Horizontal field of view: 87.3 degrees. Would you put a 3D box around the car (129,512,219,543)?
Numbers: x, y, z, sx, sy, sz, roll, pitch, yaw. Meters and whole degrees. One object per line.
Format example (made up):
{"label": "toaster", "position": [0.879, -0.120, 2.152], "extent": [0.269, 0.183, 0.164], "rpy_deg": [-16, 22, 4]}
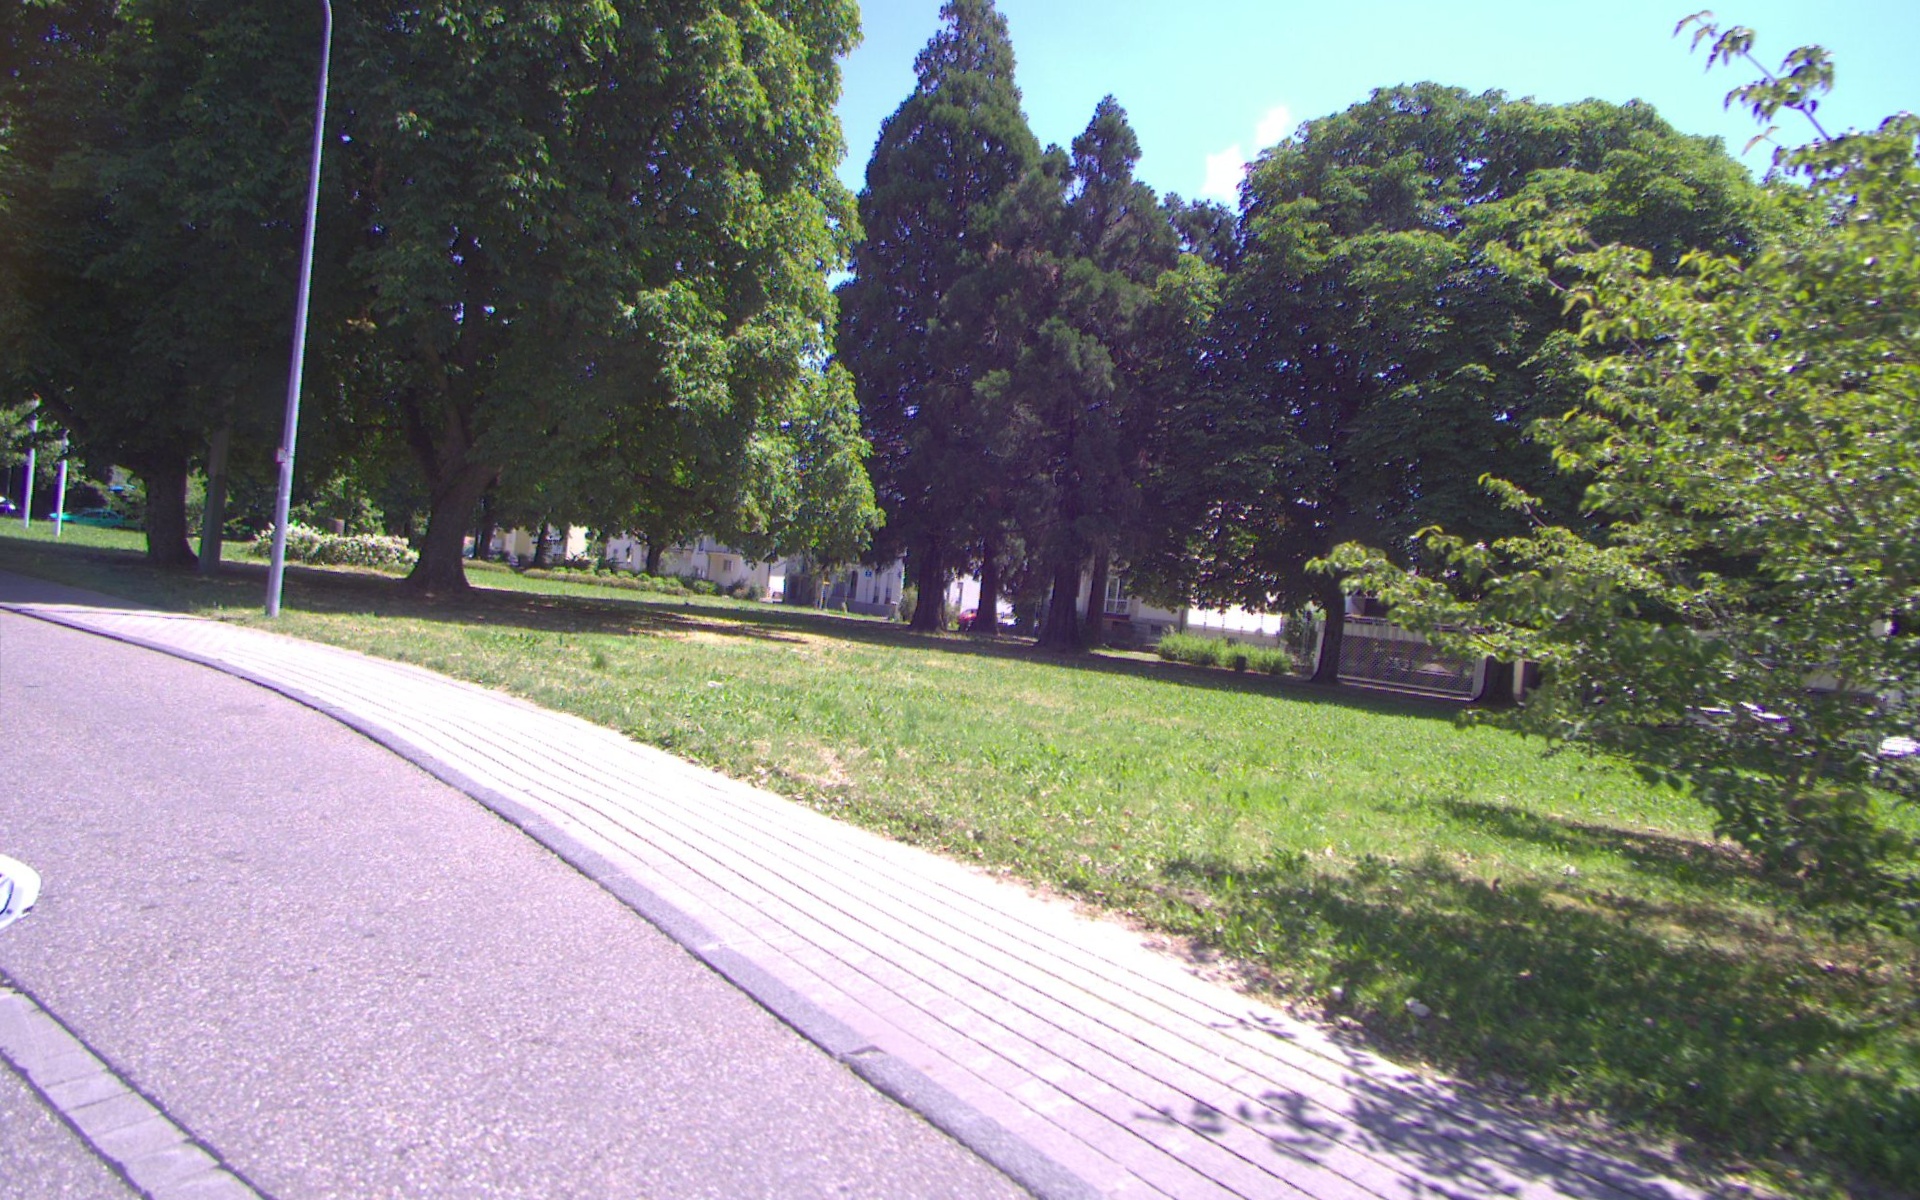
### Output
{"label": "car", "position": [-53.026, -4.851, 67.956], "extent": [1.967, 1.433, 4.343], "rpy_deg": [5, -2, 31]}

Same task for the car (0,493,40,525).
{"label": "car", "position": [-57.859, -5.605, 59.430], "extent": [1.968, 1.627, 4.824], "rpy_deg": [6, 0, 35]}

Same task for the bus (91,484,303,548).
{"label": "bus", "position": [-55.758, -6.065, 74.177], "extent": [2.231, 3.014, 12.393], "rpy_deg": [5, -1, 31]}

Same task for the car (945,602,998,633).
{"label": "car", "position": [0.898, 1.316, 75.207], "extent": [1.807, 1.982, 3.739], "rpy_deg": [4, -1, 42]}

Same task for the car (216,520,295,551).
{"label": "car", "position": [-50.475, -4.580, 72.161], "extent": [1.968, 1.628, 4.101], "rpy_deg": [5, -2, 33]}

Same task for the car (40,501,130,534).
{"label": "car", "position": [-55.522, -5.203, 63.882], "extent": [1.968, 1.471, 3.884], "rpy_deg": [5, -2, 33]}

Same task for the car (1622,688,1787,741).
{"label": "car", "position": [27.285, 4.150, 36.982], "extent": [4.655, 1.304, 1.660], "rpy_deg": [5, 0, 44]}
